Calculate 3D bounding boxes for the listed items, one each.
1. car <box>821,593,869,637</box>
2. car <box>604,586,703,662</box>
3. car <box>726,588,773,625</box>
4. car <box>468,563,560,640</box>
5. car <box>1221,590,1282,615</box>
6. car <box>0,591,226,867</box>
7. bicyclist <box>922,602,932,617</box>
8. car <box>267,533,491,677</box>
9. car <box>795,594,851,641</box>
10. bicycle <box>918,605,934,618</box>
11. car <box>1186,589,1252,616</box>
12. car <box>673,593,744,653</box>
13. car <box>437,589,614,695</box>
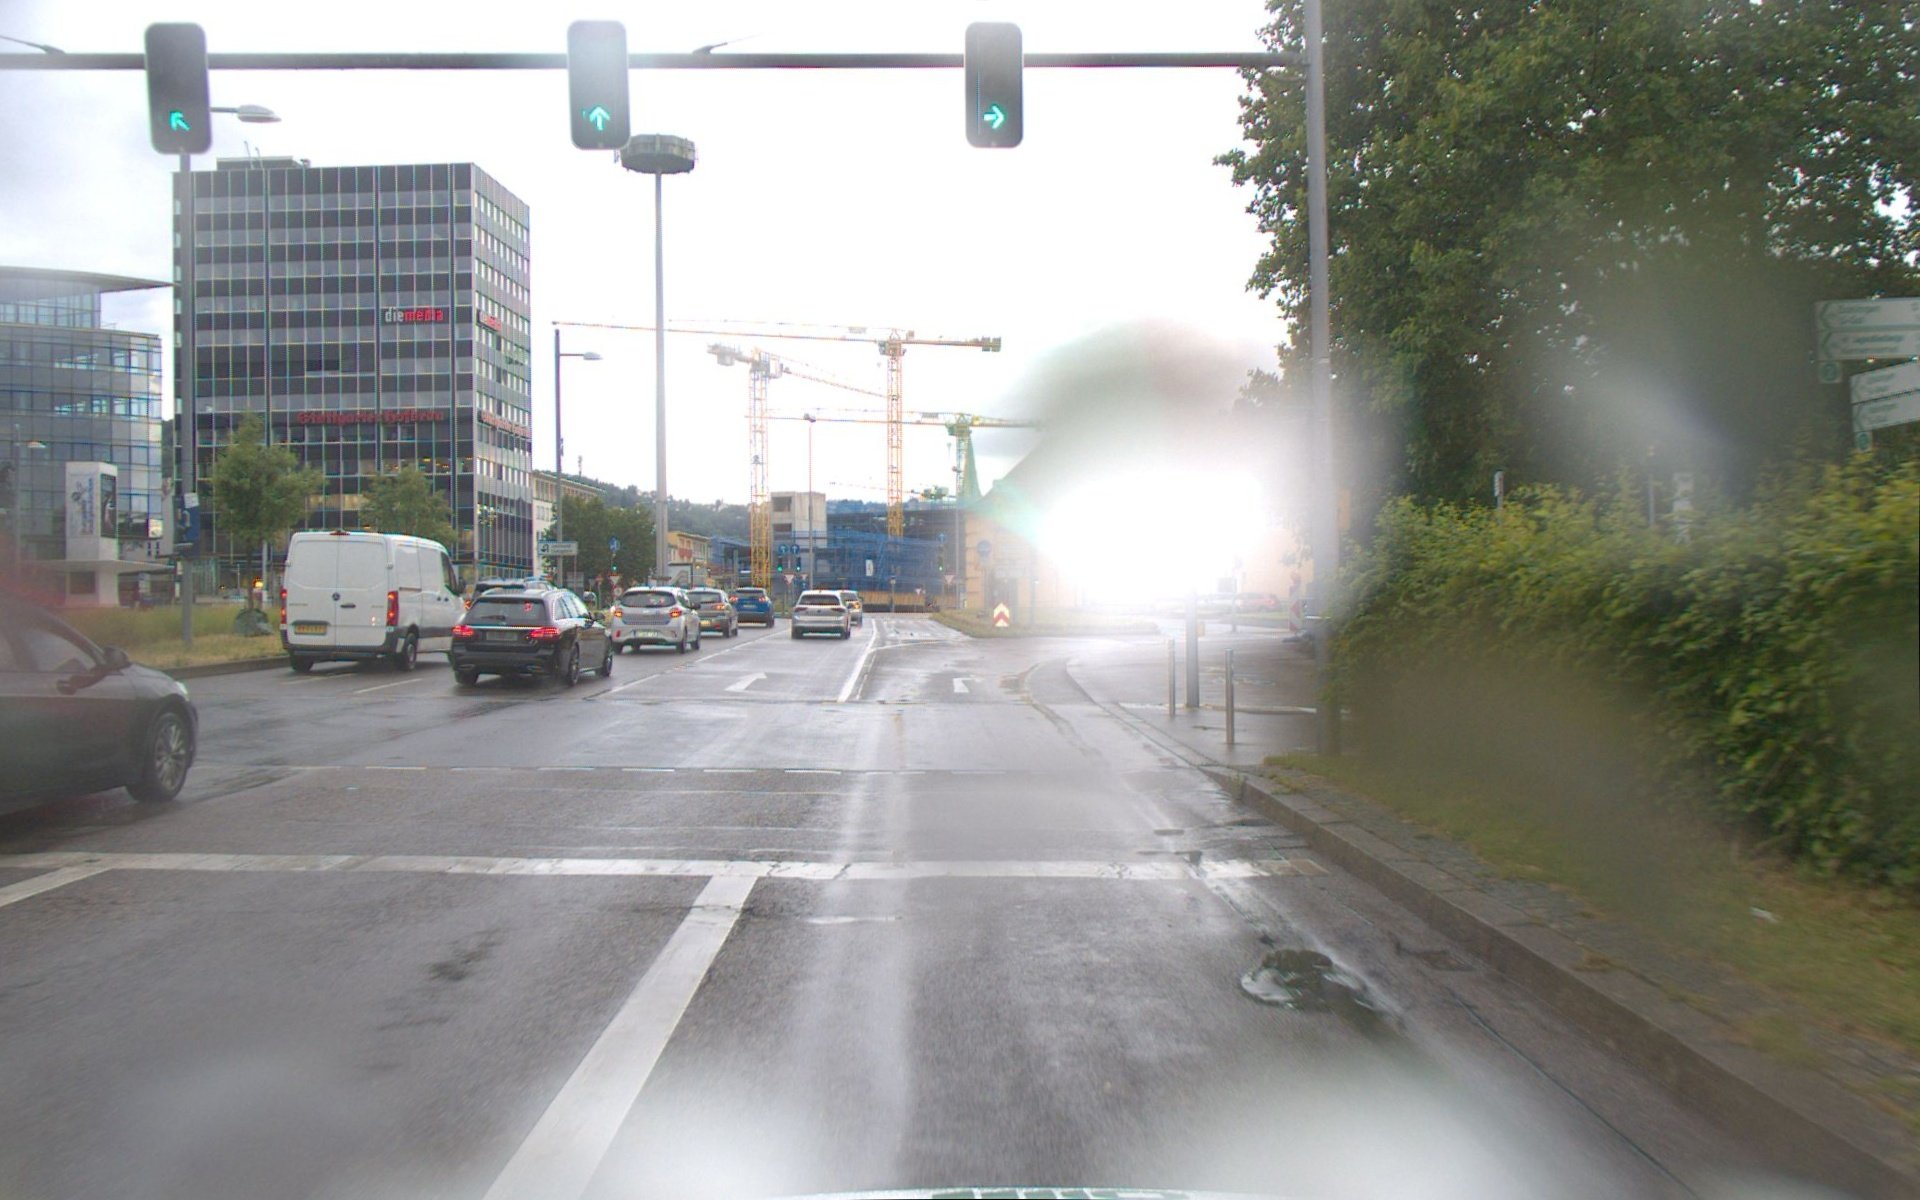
[{"bbox_3d":[-4.968,0.625,71.885,1.632,1.772,3.289,1,2,3],"label":"car"},{"bbox_3d":[-7.093,0.574,38.555,1.843,1.682,3.455,0,-1,-4],"label":"car"},{"bbox_3d":[-8.192,0.277,64.506,1.463,1.393,3.032,0,-1,-1],"label":"car"},{"bbox_3d":[-10.472,0.075,38.993,1.435,1.736,3.139,0,-1,-3],"label":"car"},{"bbox_3d":[17.558,0.153,99.467,3.330,1.498,1.652,0,-1,23],"label":"car"},{"bbox_3d":[-6.212,0.715,10.084,1.718,1.497,4.221,0,1,-2],"label":"car"},{"bbox_3d":[-2.765,0.802,139.237,0.692,1.298,0.632,1,-1,-17],"label":"bicyclist"},{"bbox_3d":[-10.230,0.132,29.616,2.245,2.355,5.005,0,-1,0],"label":"car"},{"bbox_3d":[-4.150,0.548,50.462,1.414,1.383,2.412,0,-1,2],"label":"car"},{"bbox_3d":[-2.895,0.973,139.434,0.866,1.027,1.983,1,-1,-16],"label":"bicycle"},{"bbox_3d":[14.822,0.146,94.589,3.334,1.508,1.834,0,-1,25],"label":"car"},{"bbox_3d":[-7.637,0.710,50.450,1.681,1.758,3.493,0,-1,-1],"label":"car"},{"bbox_3d":[-6.640,0.593,25.630,1.792,1.520,3.399,0,0,1],"label":"car"}]
